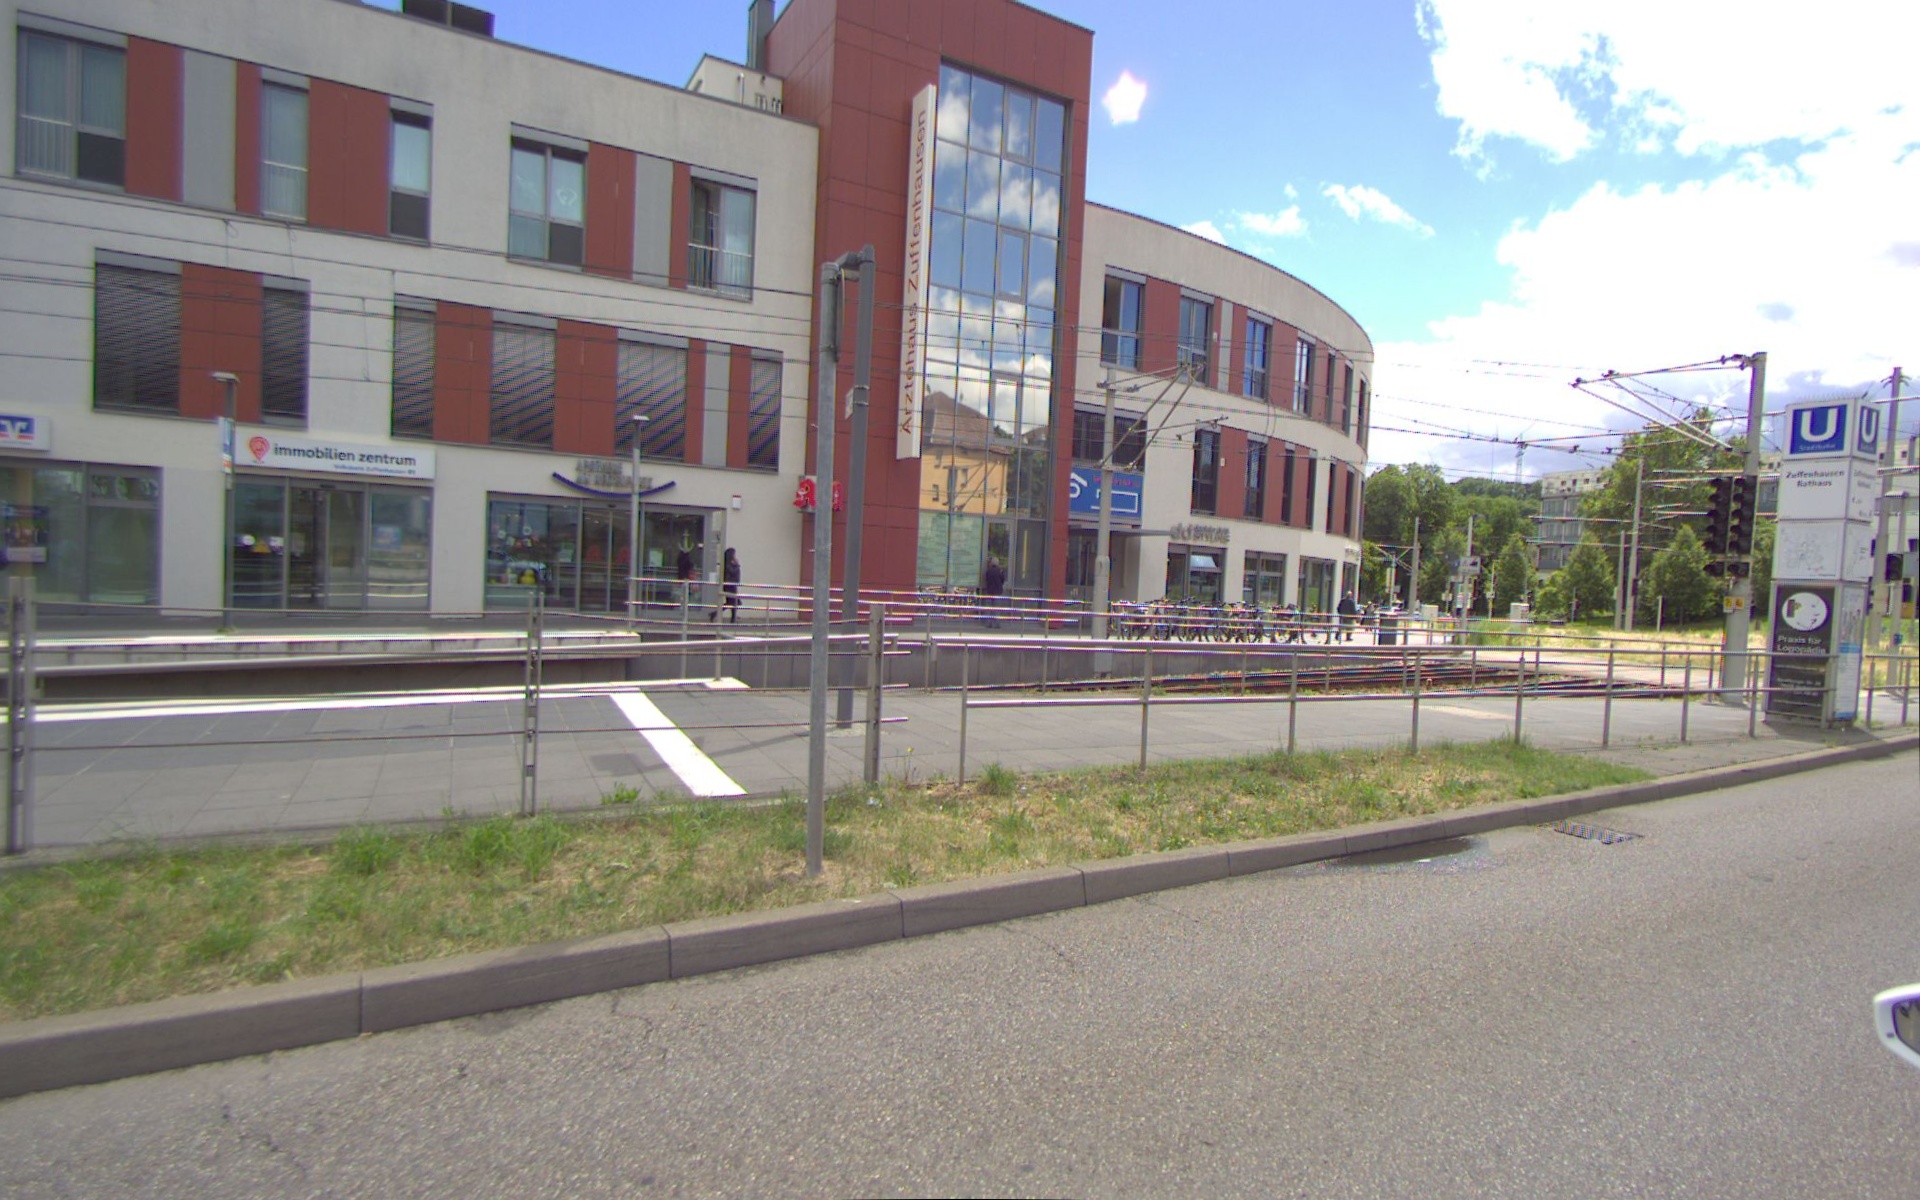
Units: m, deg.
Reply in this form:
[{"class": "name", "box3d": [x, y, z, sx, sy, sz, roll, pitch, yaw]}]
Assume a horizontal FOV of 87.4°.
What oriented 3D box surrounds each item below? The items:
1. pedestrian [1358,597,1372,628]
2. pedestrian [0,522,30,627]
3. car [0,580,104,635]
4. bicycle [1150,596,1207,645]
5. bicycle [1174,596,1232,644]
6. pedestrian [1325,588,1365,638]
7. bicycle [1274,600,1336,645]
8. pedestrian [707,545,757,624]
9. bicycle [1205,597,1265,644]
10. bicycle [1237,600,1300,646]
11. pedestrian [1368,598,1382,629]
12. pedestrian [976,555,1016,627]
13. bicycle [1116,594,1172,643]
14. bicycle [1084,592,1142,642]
[{"class": "pedestrian", "box3d": [20.929, 0.663, 51.885, 0.459, 1.551, 0.458, 5, 2, 15]}, {"class": "pedestrian", "box3d": [-16.295, -0.449, 16.899, 0.714, 1.707, 0.682, 4, 2, -26]}, {"class": "car", "box3d": [-25.380, 0.187, 27.022, 1.616, 1.342, 3.716, 5, -1, -5]}, {"class": "bicycle", "box3d": [5.269, 0.486, 24.274, 0.404, 1.115, 1.500, 4, -1, -30]}, {"class": "bicycle", "box3d": [5.969, 0.486, 24.738, 0.404, 1.115, 1.500, 4, -1, -30]}, {"class": "pedestrian", "box3d": [12.868, 0.433, 33.595, 0.855, 1.592, 0.843, 3, 3, -45]}, {"class": "bicycle", "box3d": [9.143, 0.593, 26.680, 0.509, 1.115, 1.558, 4, -1, -30]}, {"class": "pedestrian", "box3d": [-5.052, -0.341, 22.272, 0.832, 1.671, 0.653, 4, 2, -28]}, {"class": "bicycle", "box3d": [6.921, 0.498, 25.354, 0.487, 1.115, 1.500, 4, -1, -30]}, {"class": "bicycle", "box3d": [7.890, 0.580, 25.748, 0.509, 1.115, 1.558, 4, -1, -30]}, {"class": "pedestrian", "box3d": [21.392, 0.710, 51.776, 0.459, 1.551, 0.406, 5, 2, 15]}, {"class": "pedestrian", "box3d": [0.970, -0.246, 27.222, 0.730, 1.876, 0.653, 4, 2, -28]}, {"class": "bicycle", "box3d": [4.372, 0.428, 23.921, 0.404, 1.115, 1.500, 4, -1, -30]}, {"class": "bicycle", "box3d": [3.548, 0.376, 23.385, 0.404, 1.115, 1.558, 4, -1, -30]}]
